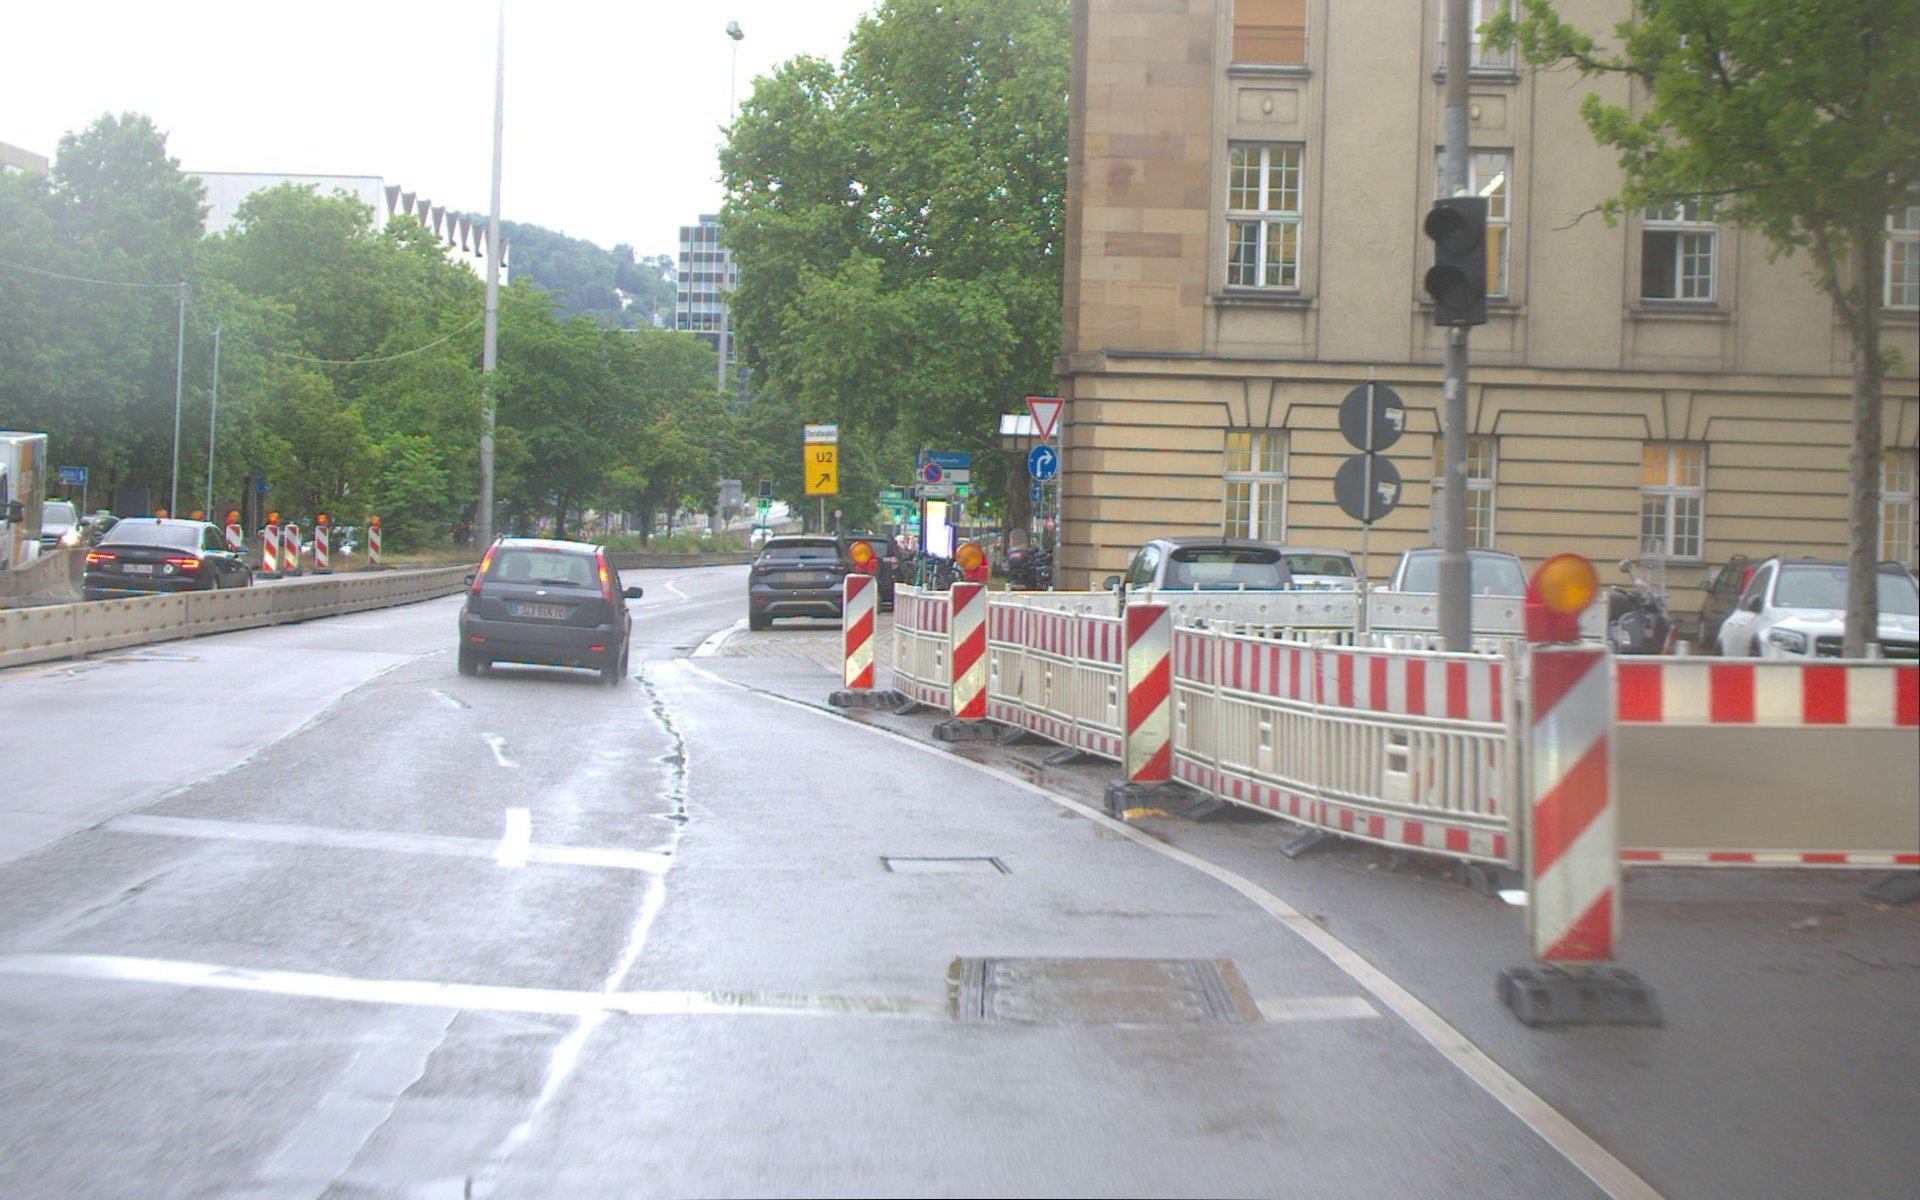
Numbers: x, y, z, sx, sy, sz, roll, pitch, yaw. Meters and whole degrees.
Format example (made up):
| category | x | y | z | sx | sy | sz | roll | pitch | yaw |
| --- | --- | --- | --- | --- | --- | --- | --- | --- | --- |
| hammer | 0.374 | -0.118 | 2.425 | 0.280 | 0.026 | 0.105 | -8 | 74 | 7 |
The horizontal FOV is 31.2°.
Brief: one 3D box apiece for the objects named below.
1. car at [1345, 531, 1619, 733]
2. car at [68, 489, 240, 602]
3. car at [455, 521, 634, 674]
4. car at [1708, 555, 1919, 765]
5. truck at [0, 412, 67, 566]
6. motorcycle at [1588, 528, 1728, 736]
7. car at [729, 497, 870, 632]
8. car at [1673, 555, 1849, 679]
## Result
| category | x | y | z | sx | sy | sz | roll | pitch | yaw |
| --- | --- | --- | --- | --- | --- | --- | --- | --- | --- |
| car | 5.012 | 0.255 | 33.558 | 1.993 | 1.702 | 4.000 | 3 | 2 | 0 |
| car | -11.460 | -0.809 | 49.101 | 1.841 | 1.405 | 4.001 | 4 | 2 | -6 |
| car | -4.304 | -0.042 | 36.020 | 1.669 | 1.422 | 3.758 | 3 | 0 | -5 |
| car | 8.277 | 0.518 | 32.019 | 1.994 | 1.702 | 4.000 | 3 | 2 | 5 |
| truck | -16.216 | -1.824 | 55.772 | 2.412 | 2.331 | 5.445 | 4 | 0 | -6 |
| motorcycle | 6.504 | 0.260 | 32.192 | 0.831 | 1.823 | 3.143 | 2 | 1 | 4 |
| car | -2.590 | -0.621 | 56.275 | 1.993 | 2.006 | 4.000 | 3 | 2 | 0 |
| car | 12.209 | 0.263 | 52.630 | 1.994 | 1.703 | 3.999 | 3 | 0 | 5 |
